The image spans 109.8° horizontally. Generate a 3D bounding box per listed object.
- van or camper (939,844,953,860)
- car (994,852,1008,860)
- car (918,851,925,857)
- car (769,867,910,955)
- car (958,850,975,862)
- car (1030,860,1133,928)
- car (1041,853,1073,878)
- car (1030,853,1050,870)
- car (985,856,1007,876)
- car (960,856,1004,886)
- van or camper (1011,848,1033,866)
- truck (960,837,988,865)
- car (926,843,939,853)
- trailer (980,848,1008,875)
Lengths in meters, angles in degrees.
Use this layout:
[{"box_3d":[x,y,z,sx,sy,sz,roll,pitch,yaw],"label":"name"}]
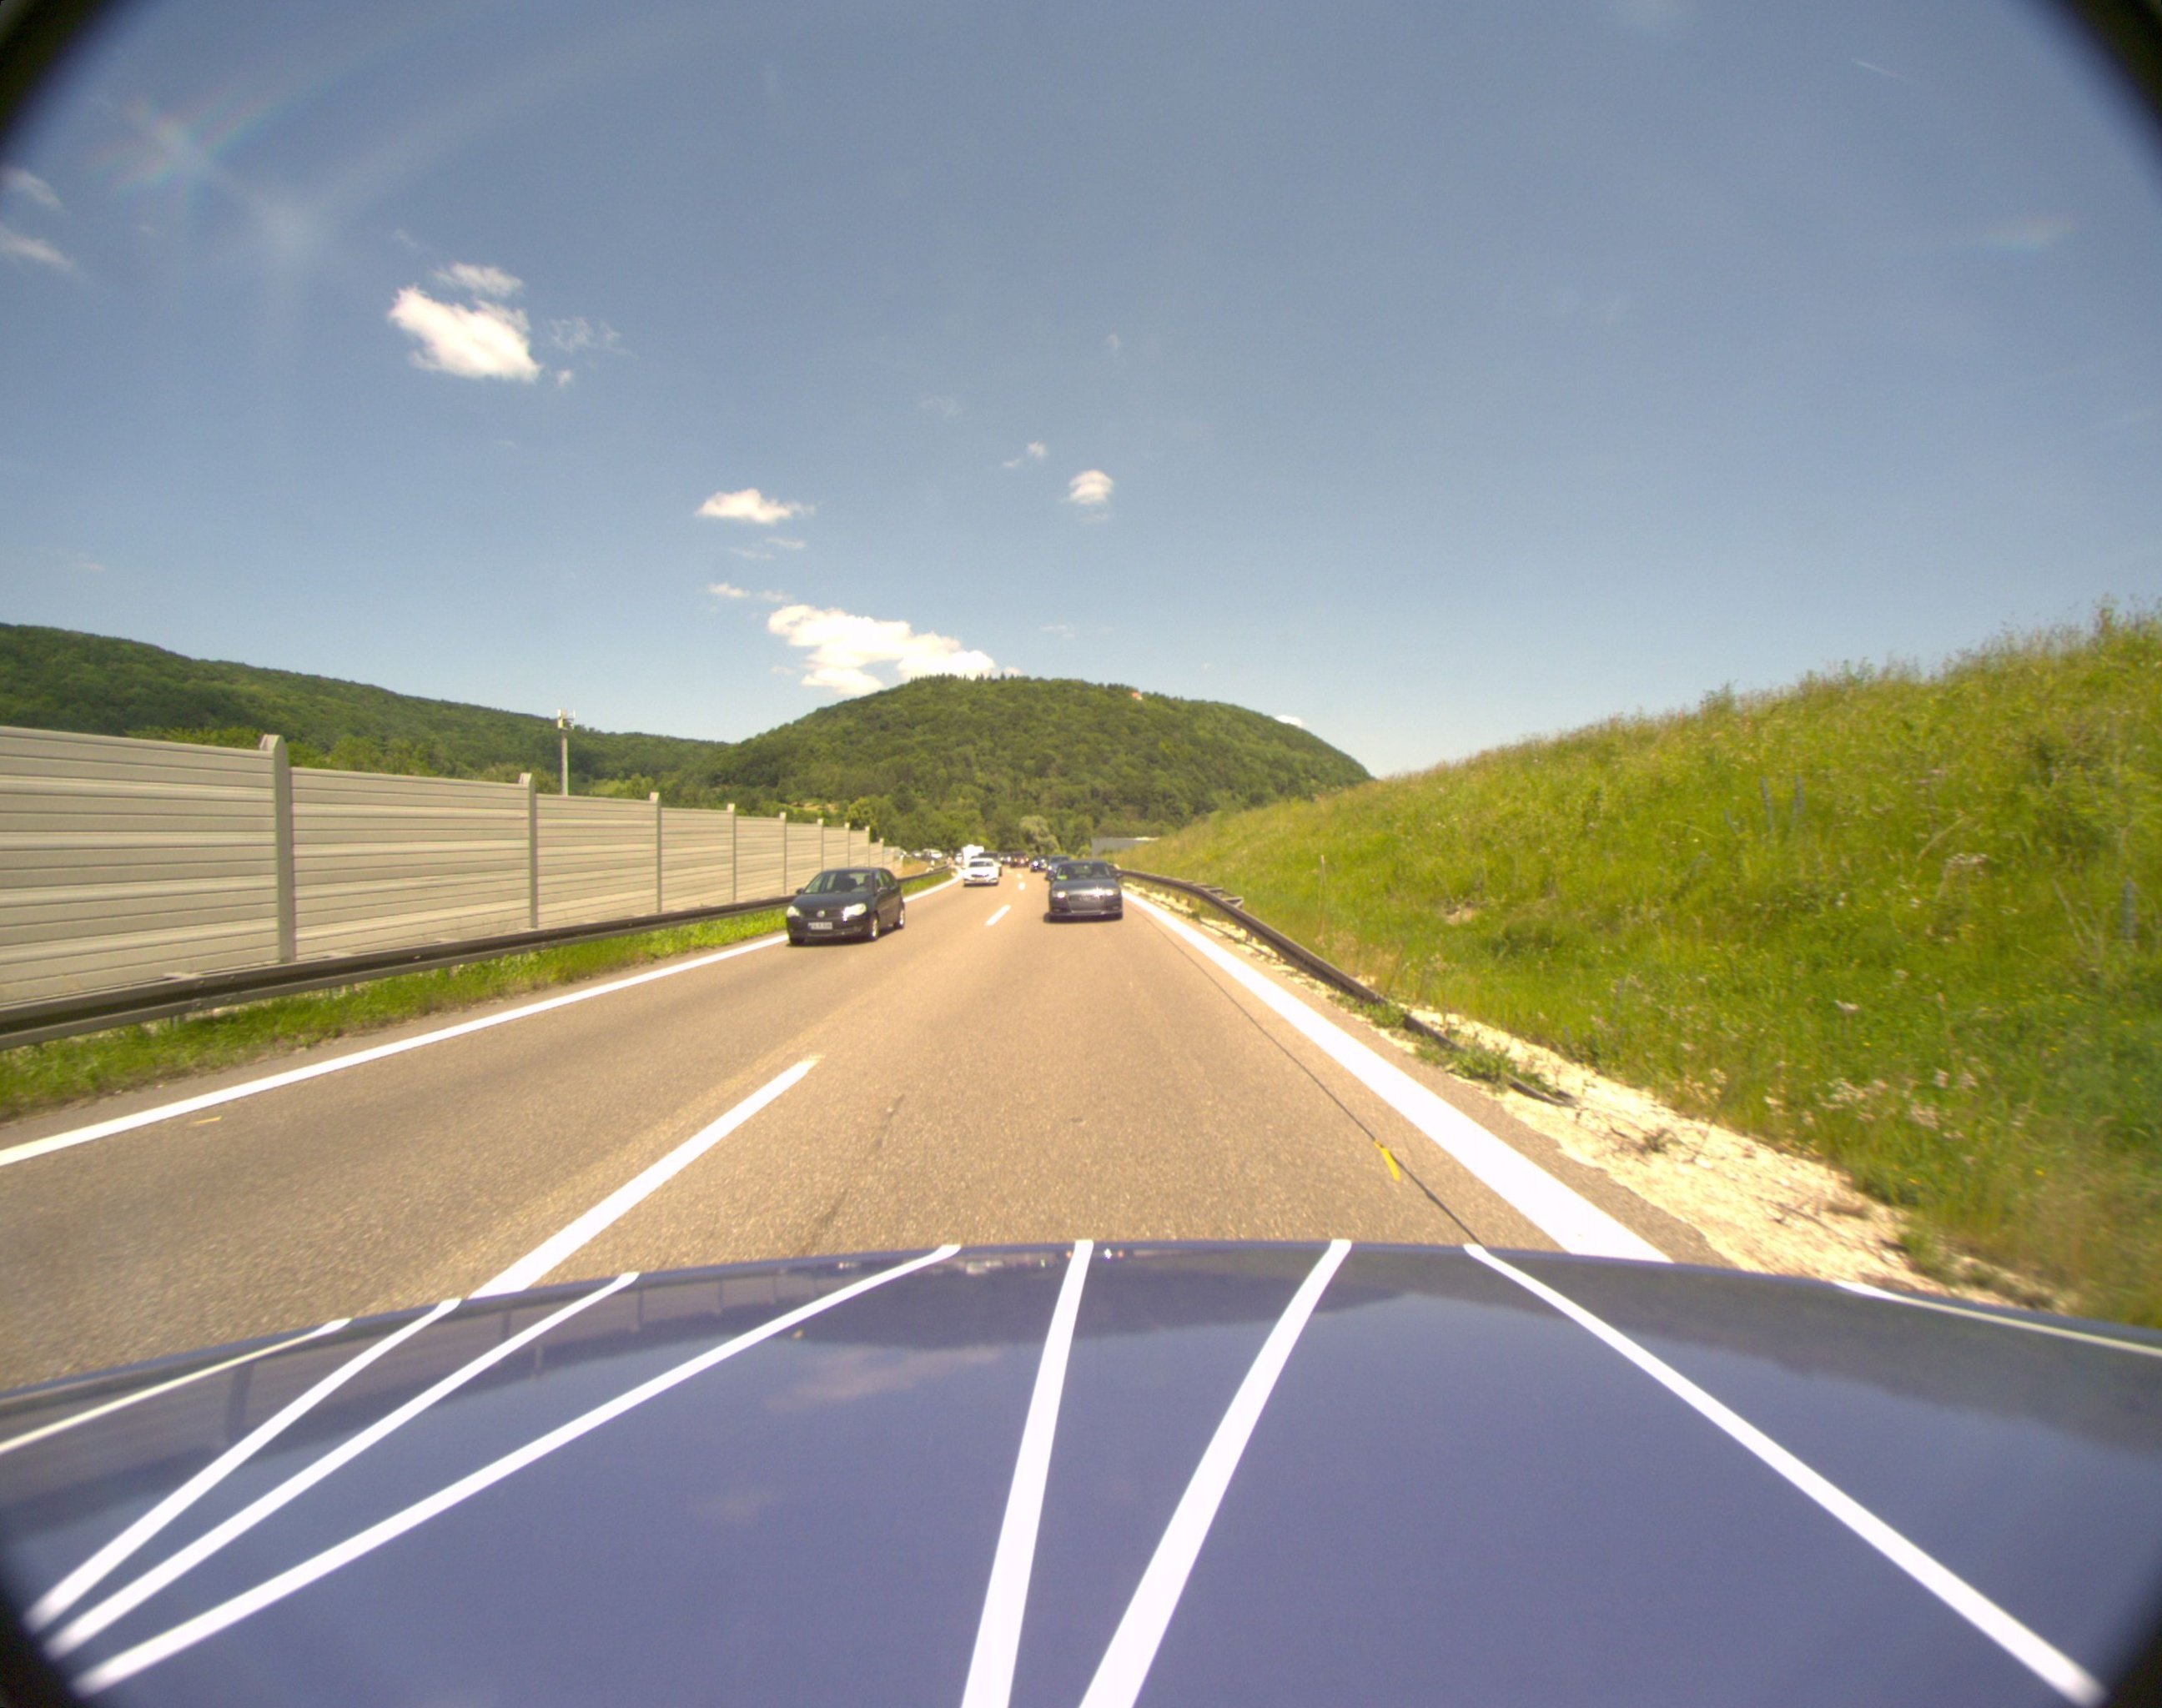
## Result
[{"box_3d":[-26.670,-0.446,149.829,1.912,3.010,4.866,-2,1,-20],"label":"van or camper"},{"box_3d":[-12.110,0.355,115.385,1.493,1.102,3.209,-3,1,-17],"label":"car"},{"box_3d":[-39.050,0.070,186.120,1.247,1.470,2.956,-5,1,-18],"label":"car"},{"box_3d":[-4.800,1.066,15.686,1.696,1.414,3.837,-3,1,-2],"label":"car"},{"box_3d":[-17.064,0.316,113.177,1.700,1.523,3.675,-5,1,-18],"label":"car"},{"box_3d":[-0.103,0.885,18.609,1.757,1.382,4.051,-3,0,-10],"label":"car"},{"box_3d":[-1.560,0.698,48.182,1.697,1.422,3.460,-4,1,-7],"label":"car"},{"box_3d":[-3.474,0.670,64.273,1.287,1.305,3.451,-4,0,-8],"label":"car"},{"box_3d":[-6.161,0.842,54.863,1.489,1.375,3.736,0,0,-7],"label":"car"},{"box_3d":[-5.302,0.901,41.107,1.908,1.422,3.722,-4,-1,-2],"label":"car"},{"box_3d":[-6.644,0.305,85.550,1.819,1.855,3.609,-3,1,-13],"label":"van or camper"},{"box_3d":[-13.052,-0.304,92.456,2.605,3.089,6.850,-5,1,-12],"label":"truck"},{"box_3d":[-30.997,-1.234,158.391,2.001,2.002,3.993,-4,1,-19],"label":"car"},{"box_3d":[-6.715,0.545,58.687,2.000,1.958,3.997,-2,1,-7],"label":"trailer"}]
